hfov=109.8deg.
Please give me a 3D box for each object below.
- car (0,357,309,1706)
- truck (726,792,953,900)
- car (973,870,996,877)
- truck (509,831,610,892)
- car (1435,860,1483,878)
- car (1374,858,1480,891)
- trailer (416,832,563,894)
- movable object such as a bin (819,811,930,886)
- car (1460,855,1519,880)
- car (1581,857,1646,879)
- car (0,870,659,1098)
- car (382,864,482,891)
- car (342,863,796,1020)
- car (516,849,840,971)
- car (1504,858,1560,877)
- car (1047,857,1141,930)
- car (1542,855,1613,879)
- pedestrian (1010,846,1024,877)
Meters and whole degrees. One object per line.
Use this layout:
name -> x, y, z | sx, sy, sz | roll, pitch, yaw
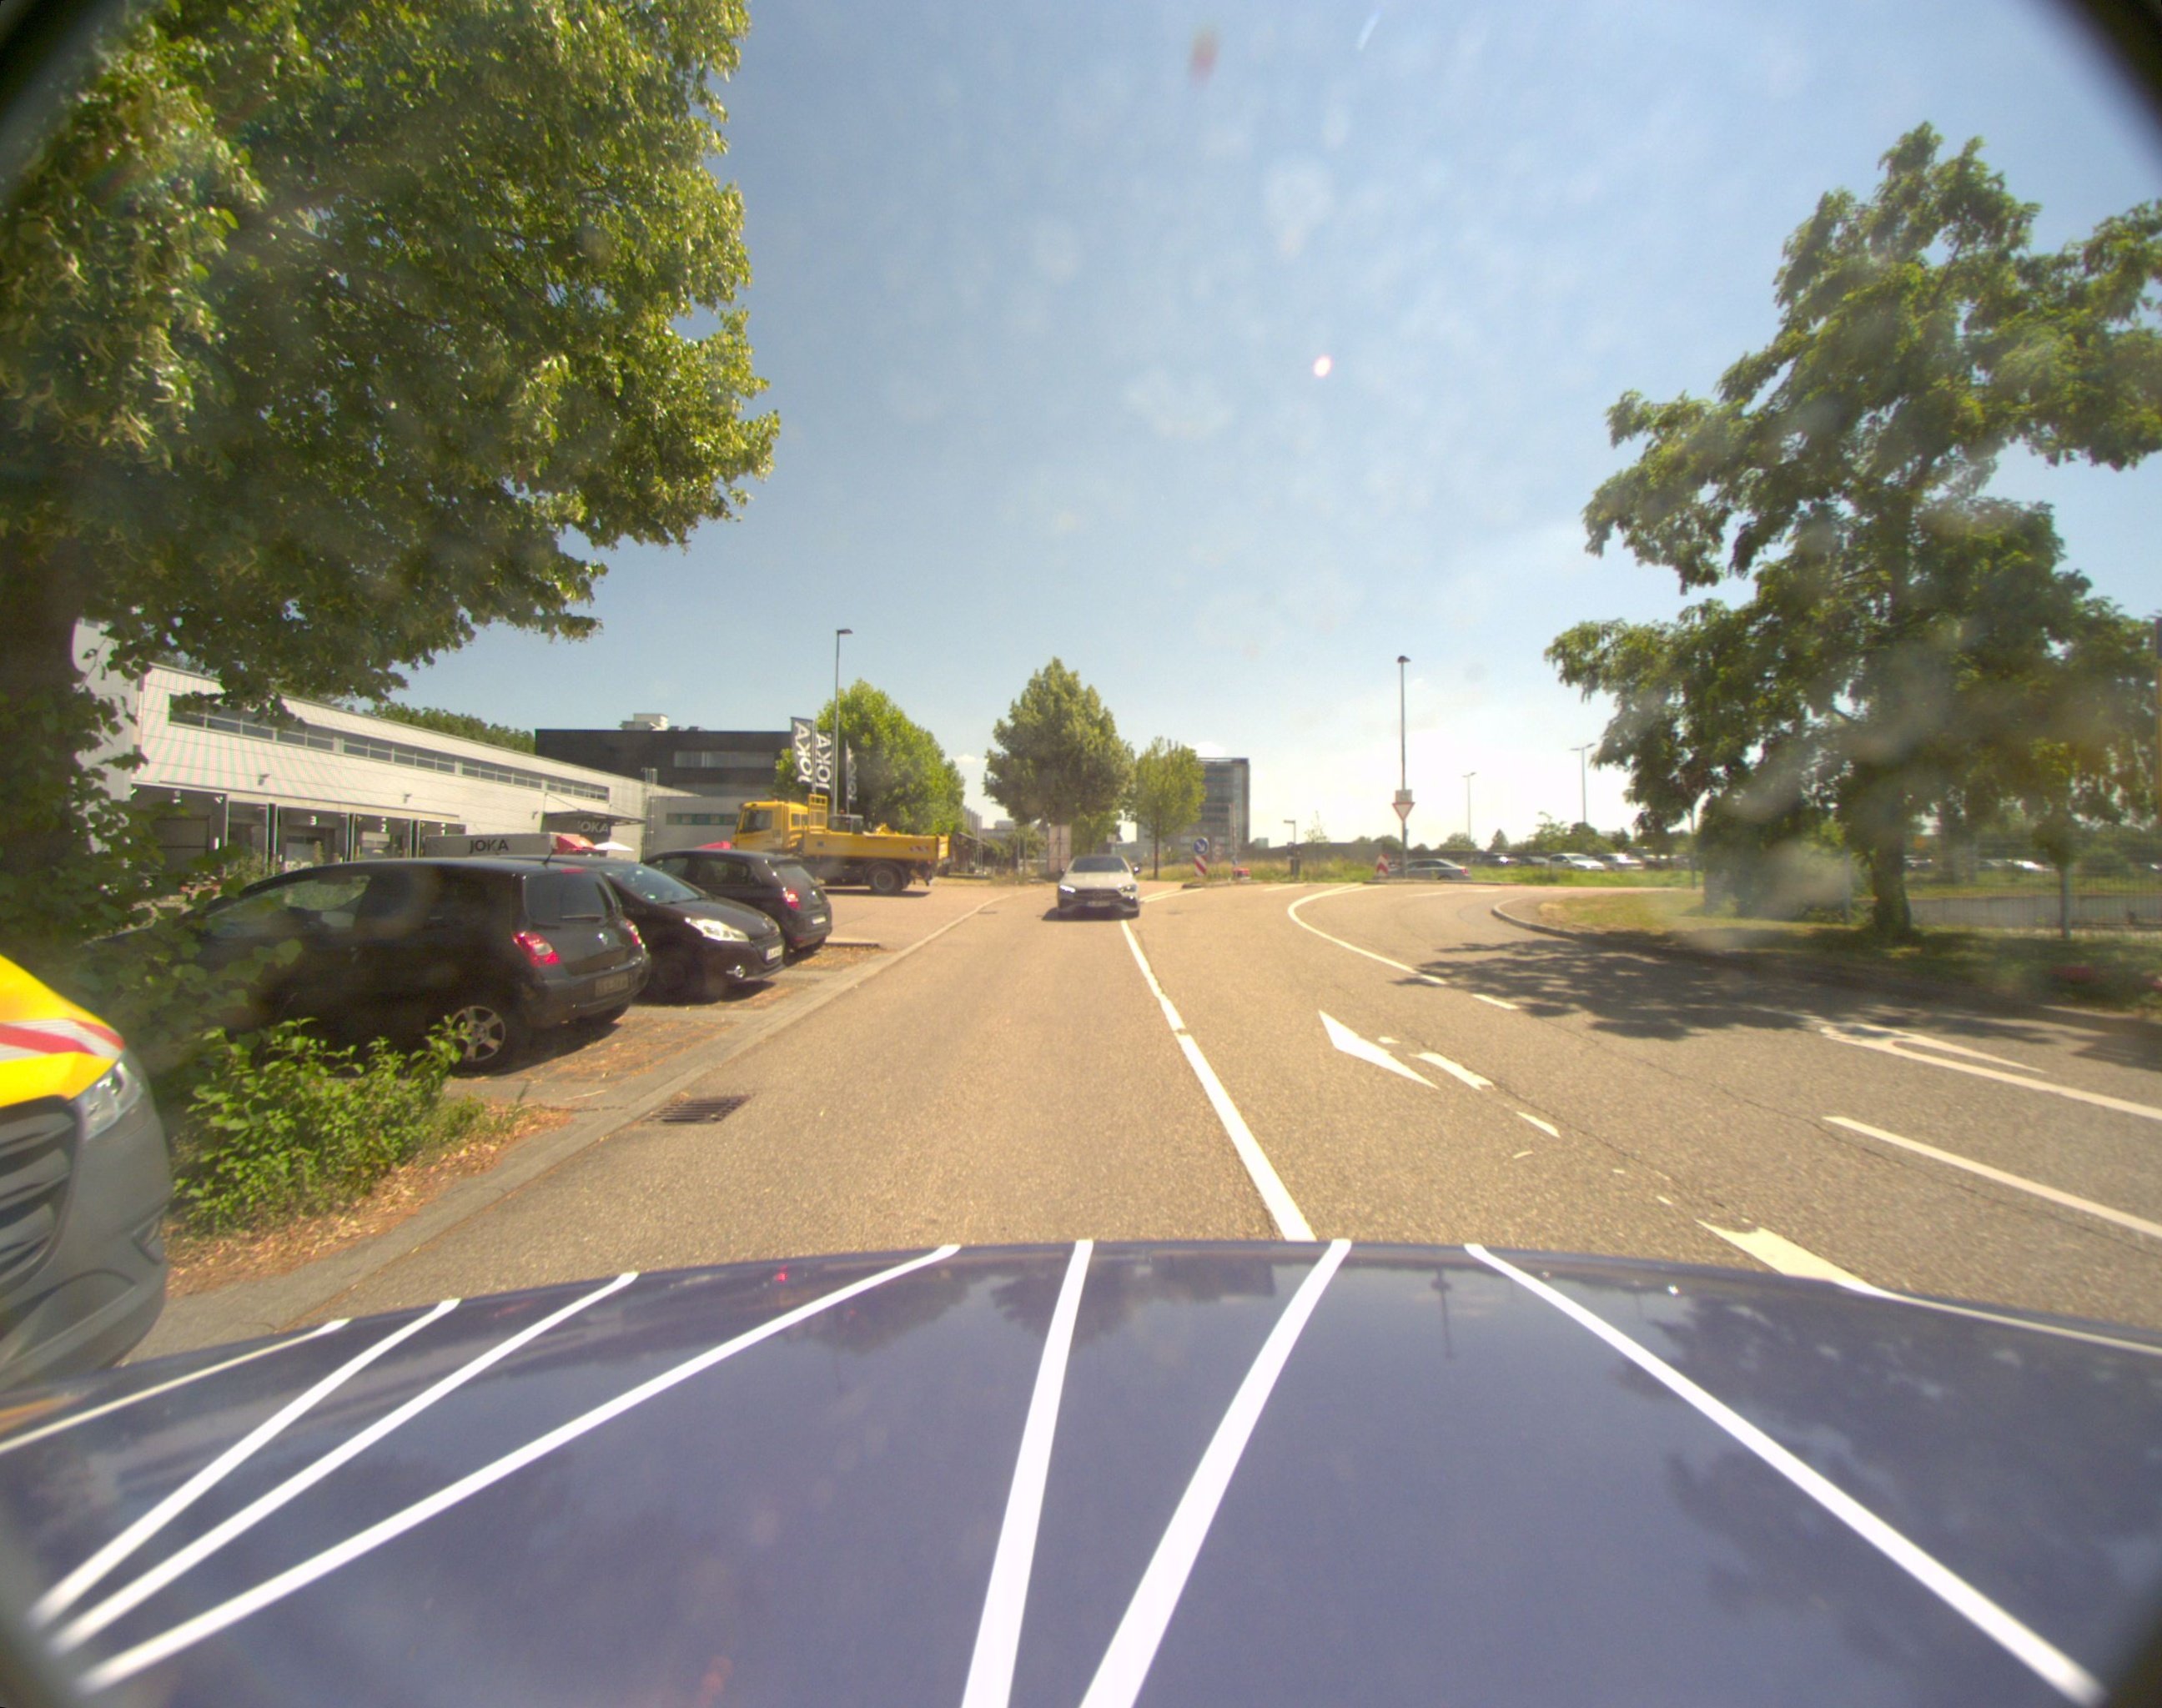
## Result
car -> -5.052, 0.208, 1.041 | 5.793, 2.716, 2.001 | 4, -1, 1
truck -> -7.471, -0.238, 24.196 | 6.422, 3.118, 2.594 | 1, 1, -4
car -> -16.844, 3.384, 133.067 | 3.842, 1.266, 1.609 | 0, -1, -1
truck -> -30.640, 0.484, 44.765 | 4.343, 3.429, 2.158 | 0, -4, -3
car -> 30.186, 1.206, 60.768 | 1.653, 1.437, 3.638 | 1, -1, -8
car -> 16.809, 1.027, 36.989 | 4.485, 1.365, 1.678 | -4, -6, 32
trailer -> -34.590, 0.545, 44.597 | 6.708, 3.436, 2.178 | 0, -4, -2
movable object such as a bin -> -7.745, -0.187, 29.403 | 1.998, 2.566, 6.580 | 0, 0, 5
car -> 29.926, 1.028, 55.786 | 1.776, 1.679, 4.606 | 1, -3, -2
car -> 31.537, 0.843, 45.113 | 1.500, 1.174, 3.272 | -1, -2, -1
car -> -5.512, 0.879, 5.834 | 3.612, 1.470, 1.628 | 0, 0, -2
car -> -34.973, 1.277, 41.037 | 3.792, 1.393, 1.809 | 0, -3, 0
car -> -5.277, 0.876, 8.216 | 3.781, 1.498, 1.590 | 1, 0, -2
car -> -5.515, 0.735, 10.725 | 3.669, 1.454, 1.627 | 2, 0, 0
car -> 32.736, 0.982, 55.290 | 1.652, 1.354, 3.848 | 0, -1, -2
car -> 0.446, 0.829, 18.141 | 1.896, 1.375, 4.634 | 0, 2, 5
car -> 29.121, 0.818, 44.705 | 1.573, 1.289, 3.879 | -1, -2, 0
pedestrian -> -3.540, 0.405, 41.799 | 0.578, 1.659, 0.532 | -2, -4, 27
